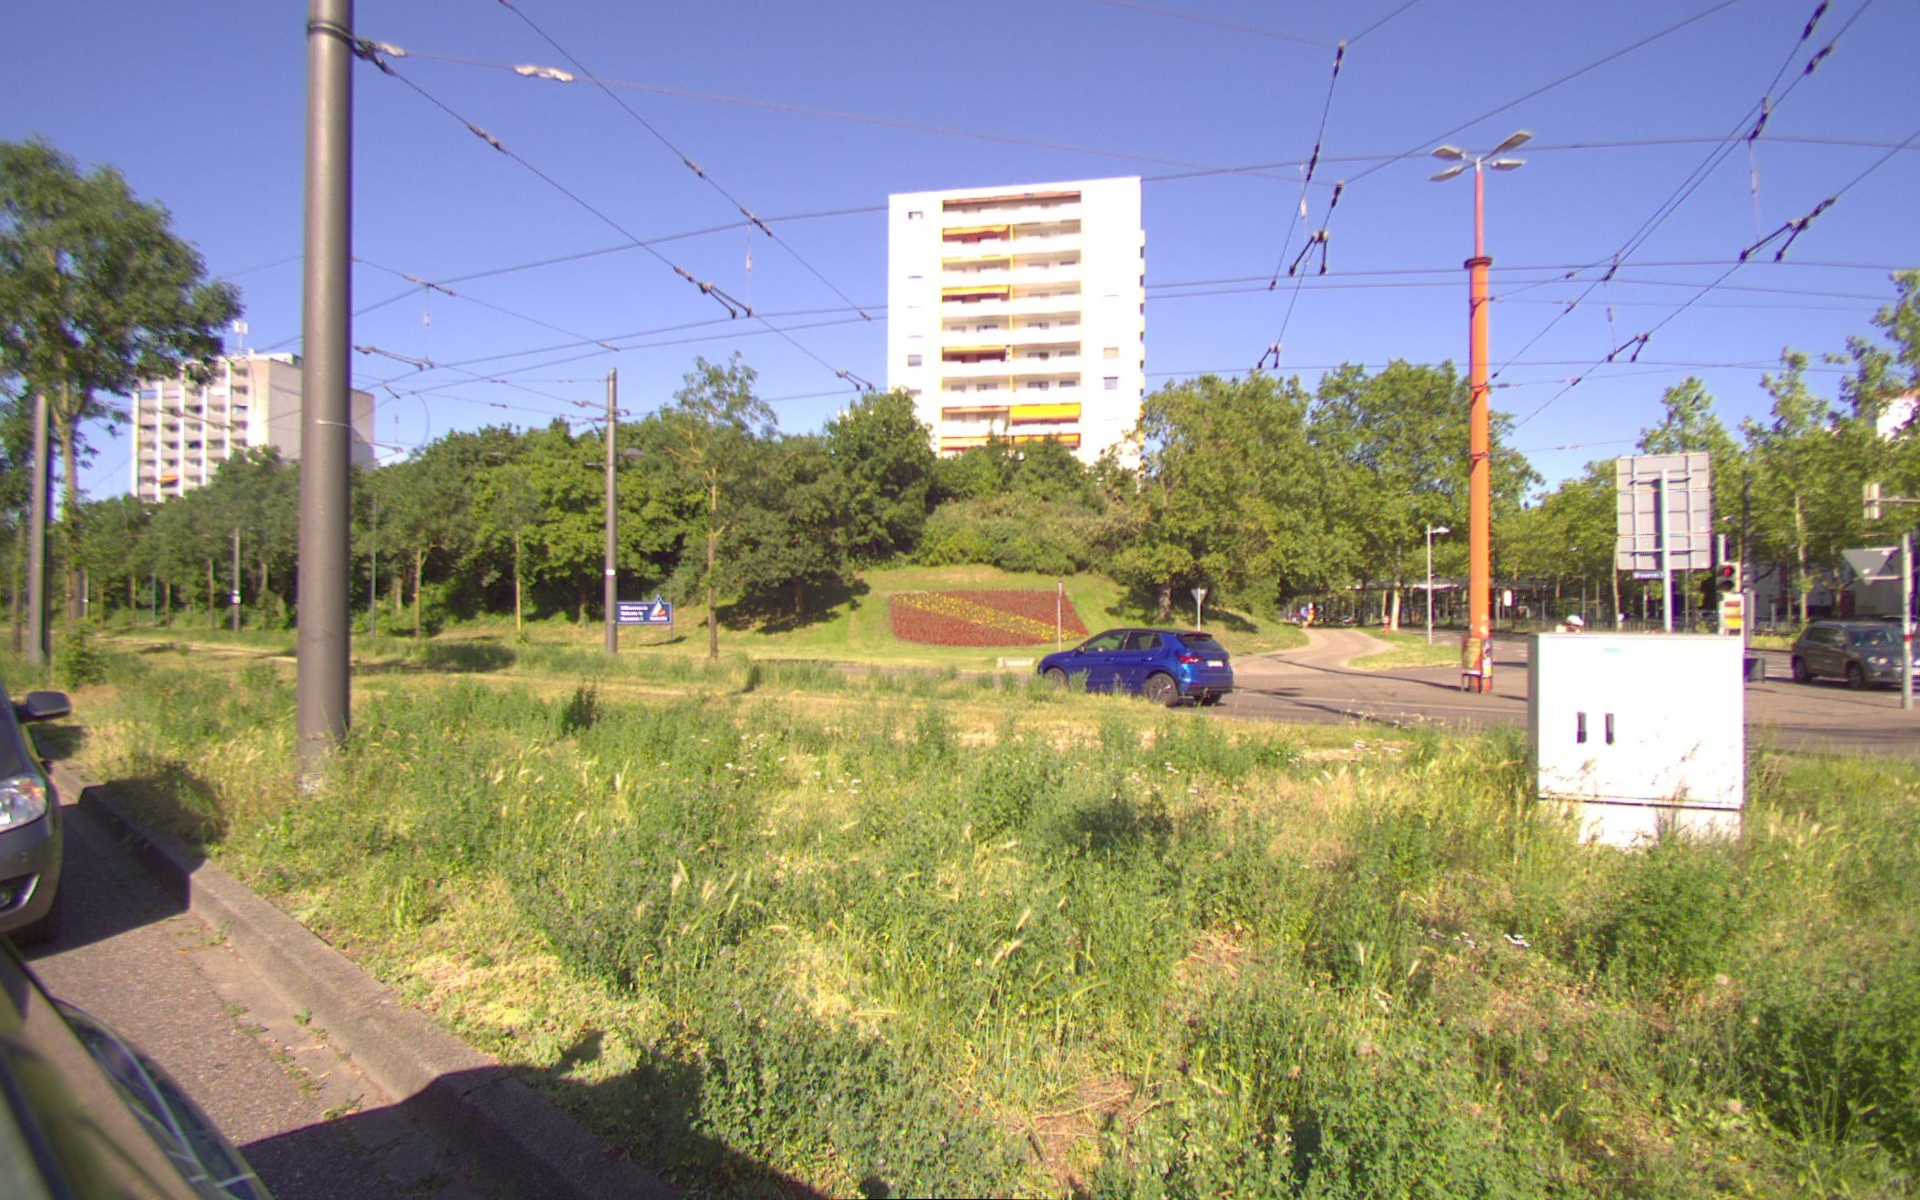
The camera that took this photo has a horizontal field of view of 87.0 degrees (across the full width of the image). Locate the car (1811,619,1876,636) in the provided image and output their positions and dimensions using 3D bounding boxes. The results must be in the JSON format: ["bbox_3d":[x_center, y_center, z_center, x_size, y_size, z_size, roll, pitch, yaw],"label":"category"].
[{"bbox_3d":[64.413,2.001,73.838,1.425,1.197,3.423,-1,0,-41],"label":"car"}]

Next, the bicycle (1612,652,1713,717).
[{"bbox_3d":[13.510,1.602,19.531,0.571,1.079,1.916,-1,0,0],"label":"bicycle"}]

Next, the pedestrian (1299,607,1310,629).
[{"bbox_3d":[25.038,1.293,73.567,0.682,1.568,0.984,-1,0,22],"label":"pedestrian"}]

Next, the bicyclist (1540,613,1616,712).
[{"bbox_3d":[12.121,1.199,19.866,0.880,1.881,0.924,-1,0,-2],"label":"bicyclist"}]

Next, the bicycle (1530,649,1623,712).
[{"bbox_3d":[12.074,1.555,19.883,0.571,1.079,1.917,-1,0,-3],"label":"bicycle"}]

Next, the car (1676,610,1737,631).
[{"bbox_3d":[72.151,1.954,97.864,1.909,1.999,4.350,1,-2,-38],"label":"car"}]

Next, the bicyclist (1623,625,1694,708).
[{"bbox_3d":[13.497,1.272,19.580,0.710,1.536,0.924,-1,0,0],"label":"bicyclist"}]

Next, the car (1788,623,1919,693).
[{"bbox_3d":[23.022,1.400,25.411,1.900,1.507,4.026,-1,0,15],"label":"car"}]

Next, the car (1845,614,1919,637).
[{"bbox_3d":[63.808,1.755,69.987,1.589,1.471,3.656,-1,0,-38],"label":"car"}]

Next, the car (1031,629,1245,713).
[{"bbox_3d":[3.365,1.298,19.643,1.556,1.431,3.911,1,-2,-45],"label":"car"}]

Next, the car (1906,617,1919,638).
[{"bbox_3d":[63.693,1.788,65.155,1.472,1.341,3.746,-1,0,-27],"label":"car"}]

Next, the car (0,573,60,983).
[{"bbox_3d":[-5.819,0.757,4.884,3.998,1.652,1.726,-1,0,41],"label":"car"}]
